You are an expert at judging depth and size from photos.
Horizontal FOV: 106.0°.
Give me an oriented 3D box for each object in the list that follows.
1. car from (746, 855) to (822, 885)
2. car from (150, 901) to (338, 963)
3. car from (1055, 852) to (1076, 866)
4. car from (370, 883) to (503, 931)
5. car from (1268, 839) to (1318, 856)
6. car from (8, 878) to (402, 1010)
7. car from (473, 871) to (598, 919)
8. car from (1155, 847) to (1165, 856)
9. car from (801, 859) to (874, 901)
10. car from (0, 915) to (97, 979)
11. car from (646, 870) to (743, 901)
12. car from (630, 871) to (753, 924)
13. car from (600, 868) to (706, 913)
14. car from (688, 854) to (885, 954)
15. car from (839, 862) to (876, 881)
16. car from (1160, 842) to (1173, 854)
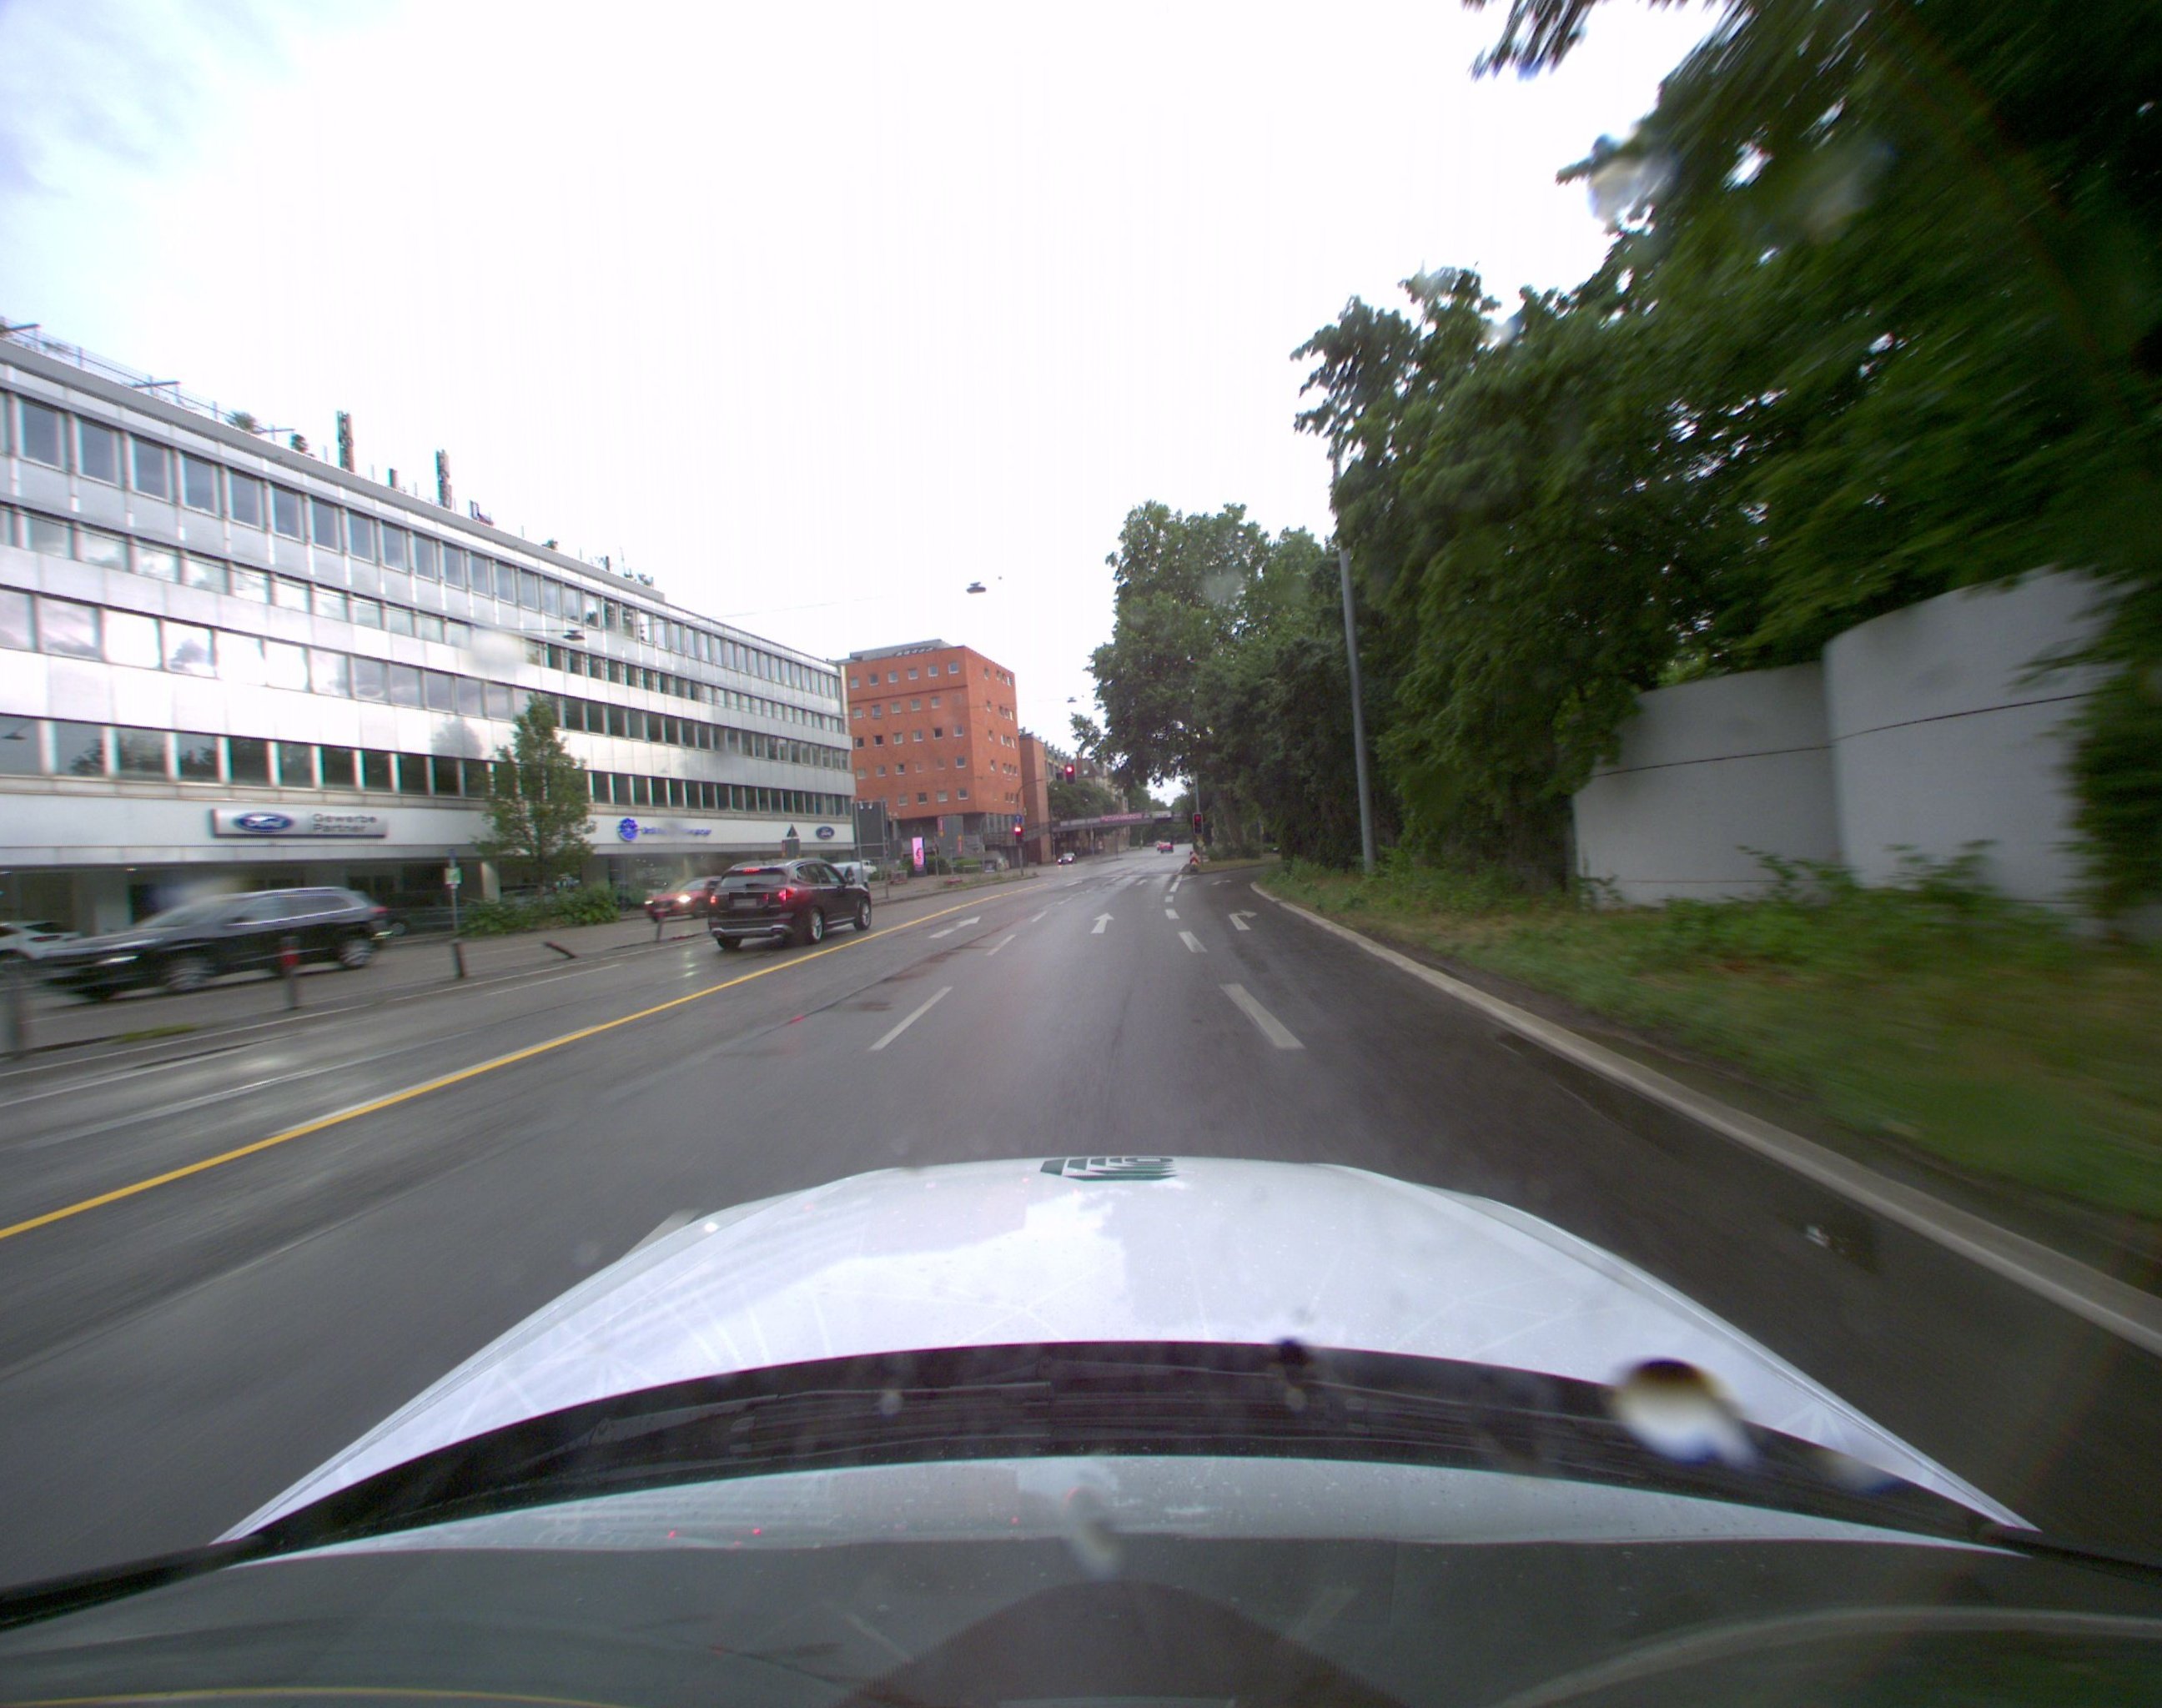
[{"bbox_3d":[-21.858,1.173,60.061,4.746,1.738,1.998,-5,0,-2],"label":"car"},{"bbox_3d":[-29.181,2.678,28.566,1.977,1.574,4.021,-6,0,20],"label":"car"},{"bbox_3d":[-1.908,0.566,101.330,1.982,1.519,4.009,-4,0,8],"label":"car"},{"bbox_3d":[-27.972,2.273,35.508,4.003,1.574,1.985,-5,0,-22],"label":"car"},{"bbox_3d":[21.767,-0.650,83.802,4.589,1.451,1.774,-4,0,0],"label":"car"},{"bbox_3d":[-15.431,1.461,14.841,1.836,1.737,4.612,-5,0,6],"label":"car"},{"bbox_3d":[-27.464,2.046,41.091,5.012,1.897,1.978,-5,0,-36],"label":"car"},{"bbox_3d":[15.983,-0.515,165.288,1.754,1.696,3.713,-5,0,7],"label":"car"},{"bbox_3d":[-12.144,1.251,40.917,1.724,1.786,4.312,-5,0,8],"label":"car"},{"bbox_3d":[-32.100,2.842,23.411,4.399,1.651,1.837,-5,0,-29],"label":"car"},{"bbox_3d":[-25.058,2.023,52.965,5.185,1.520,1.995,-5,0,-8],"label":"car"},{"bbox_3d":[-13.912,1.516,29.414,1.820,1.502,4.382,-5,0,7],"label":"car"},{"bbox_3d":[-24.624,2.068,47.050,5.219,2.011,1.982,-5,0,-28],"label":"car"},{"bbox_3d":[-5.791,0.885,16.782,1.938,1.597,4.677,-2,1,5],"label":"car"},{"bbox_3d":[-24.708,1.917,90.153,1.981,2.013,4.865,0,0,10],"label":"car"},{"bbox_3d":[14.304,-0.992,136.195,2.110,1.734,4.205,-2,1,5],"label":"car"}]
